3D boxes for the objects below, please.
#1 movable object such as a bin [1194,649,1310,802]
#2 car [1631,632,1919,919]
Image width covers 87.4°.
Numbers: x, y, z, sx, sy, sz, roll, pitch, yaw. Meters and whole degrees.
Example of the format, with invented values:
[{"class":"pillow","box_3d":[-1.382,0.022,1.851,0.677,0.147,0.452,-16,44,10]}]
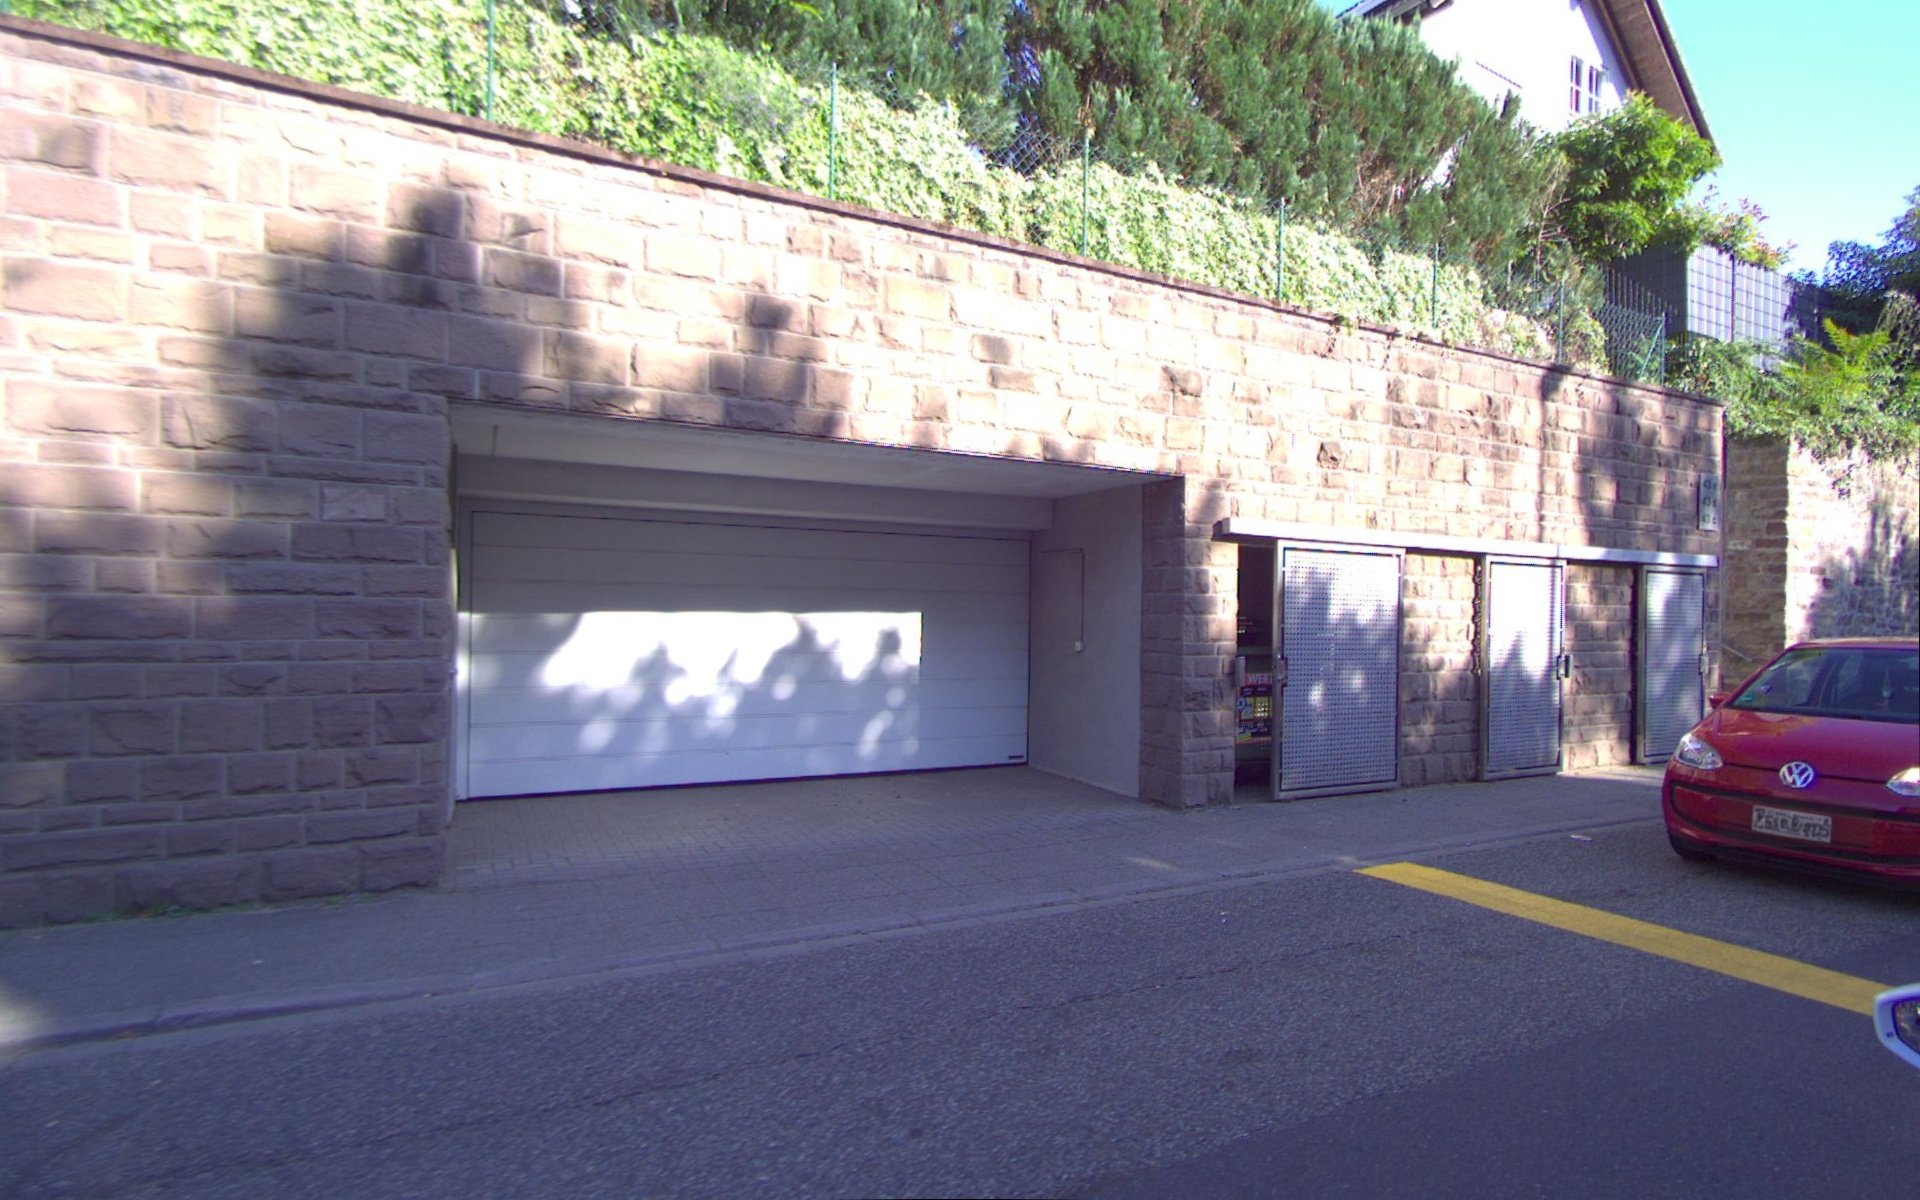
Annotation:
[{"class":"movable object such as a bin","box_3d":[2.434,1.014,8.403,0.657,1.191,0.655,1,-1,-28]},{"class":"car","box_3d":[6.129,0.947,6.501,3.521,1.440,1.619,1,-1,-30]}]
